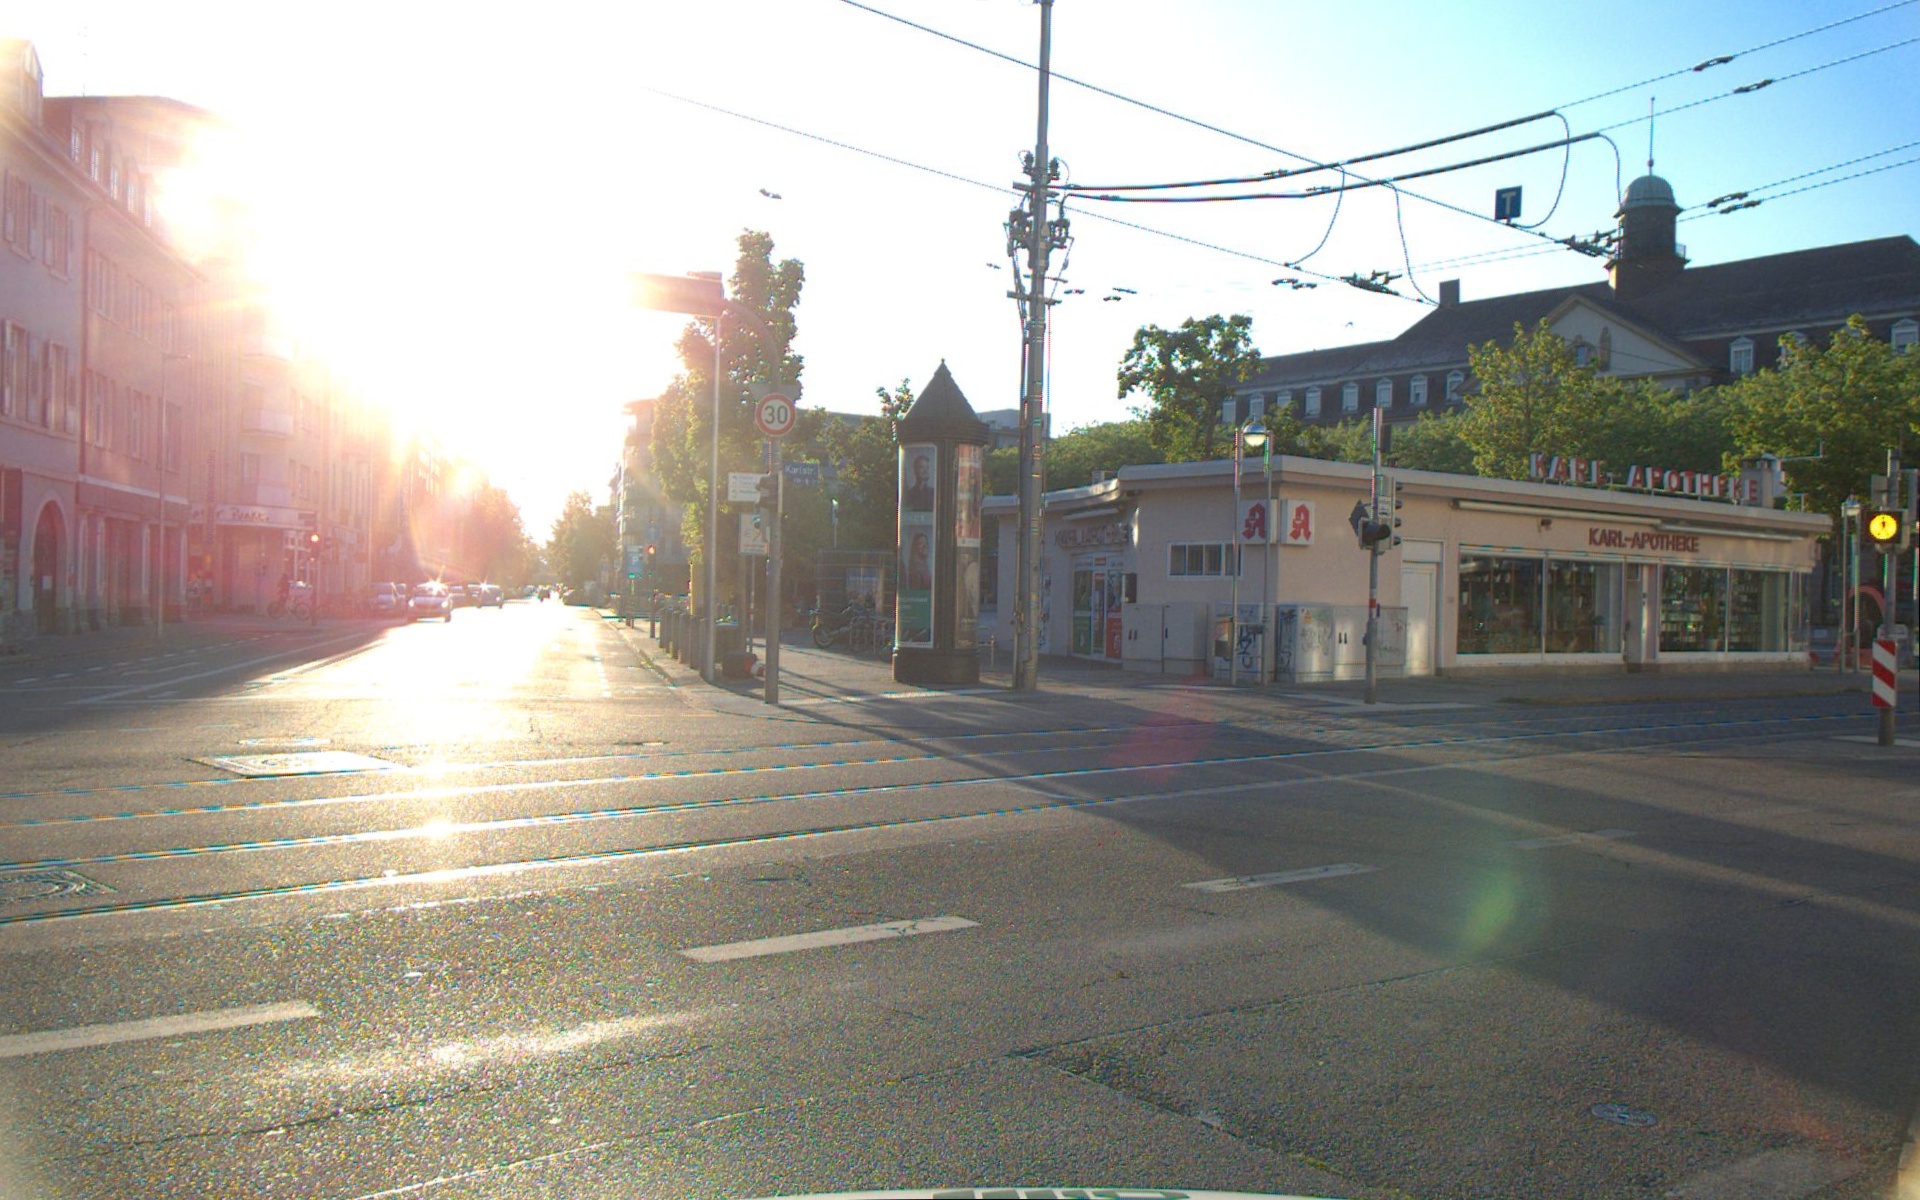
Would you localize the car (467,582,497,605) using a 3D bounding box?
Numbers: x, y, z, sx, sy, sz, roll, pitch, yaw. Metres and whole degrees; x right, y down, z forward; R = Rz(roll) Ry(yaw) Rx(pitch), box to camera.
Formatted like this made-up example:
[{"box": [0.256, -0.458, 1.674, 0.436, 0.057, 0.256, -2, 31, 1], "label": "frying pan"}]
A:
[{"box": [-38.465, -0.536, 133.279, 1.959, 1.709, 3.987, 3, -1, -12], "label": "car"}]

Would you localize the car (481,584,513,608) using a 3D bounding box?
[{"box": [-33.455, -0.308, 119.589, 1.958, 1.713, 3.989, 1, 0, -11], "label": "car"}]

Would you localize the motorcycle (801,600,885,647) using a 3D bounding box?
[{"box": [-3.154, 0.619, 44.383, 2.192, 1.222, 0.719, 1, 0, -8], "label": "motorcycle"}]

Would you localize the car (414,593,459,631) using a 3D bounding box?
[{"box": [-21.650, 0.503, 68.433, 1.519, 1.493, 3.339, 1, -1, -14], "label": "car"}]

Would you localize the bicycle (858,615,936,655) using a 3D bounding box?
[{"box": [-1.640, 0.904, 42.957, 1.998, 0.994, 0.559, 1, -1, -6], "label": "bicycle"}]

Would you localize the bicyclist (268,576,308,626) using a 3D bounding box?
[{"box": [-25.323, 0.043, 62.358, 1.105, 1.822, 0.765, 2, -1, 4], "label": "bicyclist"}]

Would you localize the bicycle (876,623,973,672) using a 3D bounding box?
[{"box": [-0.802, 1.056, 36.683, 2.105, 1.062, 0.559, 1, -1, -6], "label": "bicycle"}]

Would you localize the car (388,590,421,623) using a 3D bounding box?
[{"box": [-28.015, 0.355, 83.437, 1.285, 1.610, 2.878, 1, -1, -14], "label": "car"}]

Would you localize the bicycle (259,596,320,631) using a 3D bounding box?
[{"box": [-25.275, 0.503, 62.351, 2.073, 1.225, 0.500, 2, -1, 4], "label": "bicycle"}]

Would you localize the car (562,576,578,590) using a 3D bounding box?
[{"box": [-55.409, -2.387, 235.119, 1.958, 1.847, 3.989, 1, 0, -11], "label": "car"}]

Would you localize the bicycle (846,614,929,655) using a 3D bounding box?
[{"box": [-1.826, 0.871, 41.342, 2.037, 0.999, 0.559, 1, -1, -6], "label": "bicycle"}]

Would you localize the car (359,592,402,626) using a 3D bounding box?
[{"box": [-26.887, 0.423, 76.832, 1.519, 1.495, 3.339, 1, -1, -14], "label": "car"}]

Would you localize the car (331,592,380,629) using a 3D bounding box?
[{"box": [-24.986, 0.422, 68.452, 1.519, 1.510, 3.340, 0, 0, -14], "label": "car"}]

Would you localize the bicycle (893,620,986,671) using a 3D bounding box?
[{"box": [-0.448, 0.988, 35.774, 1.981, 1.062, 0.559, 1, -1, -6], "label": "bicycle"}]

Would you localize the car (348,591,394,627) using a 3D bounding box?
[{"box": [-25.632, 0.419, 72.032, 1.519, 1.495, 3.339, 1, -1, -14], "label": "car"}]

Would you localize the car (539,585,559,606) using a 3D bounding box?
[{"box": [-42.960, -0.495, 172.918, 1.960, 2.049, 3.985, 3, -1, -14], "label": "car"}]
